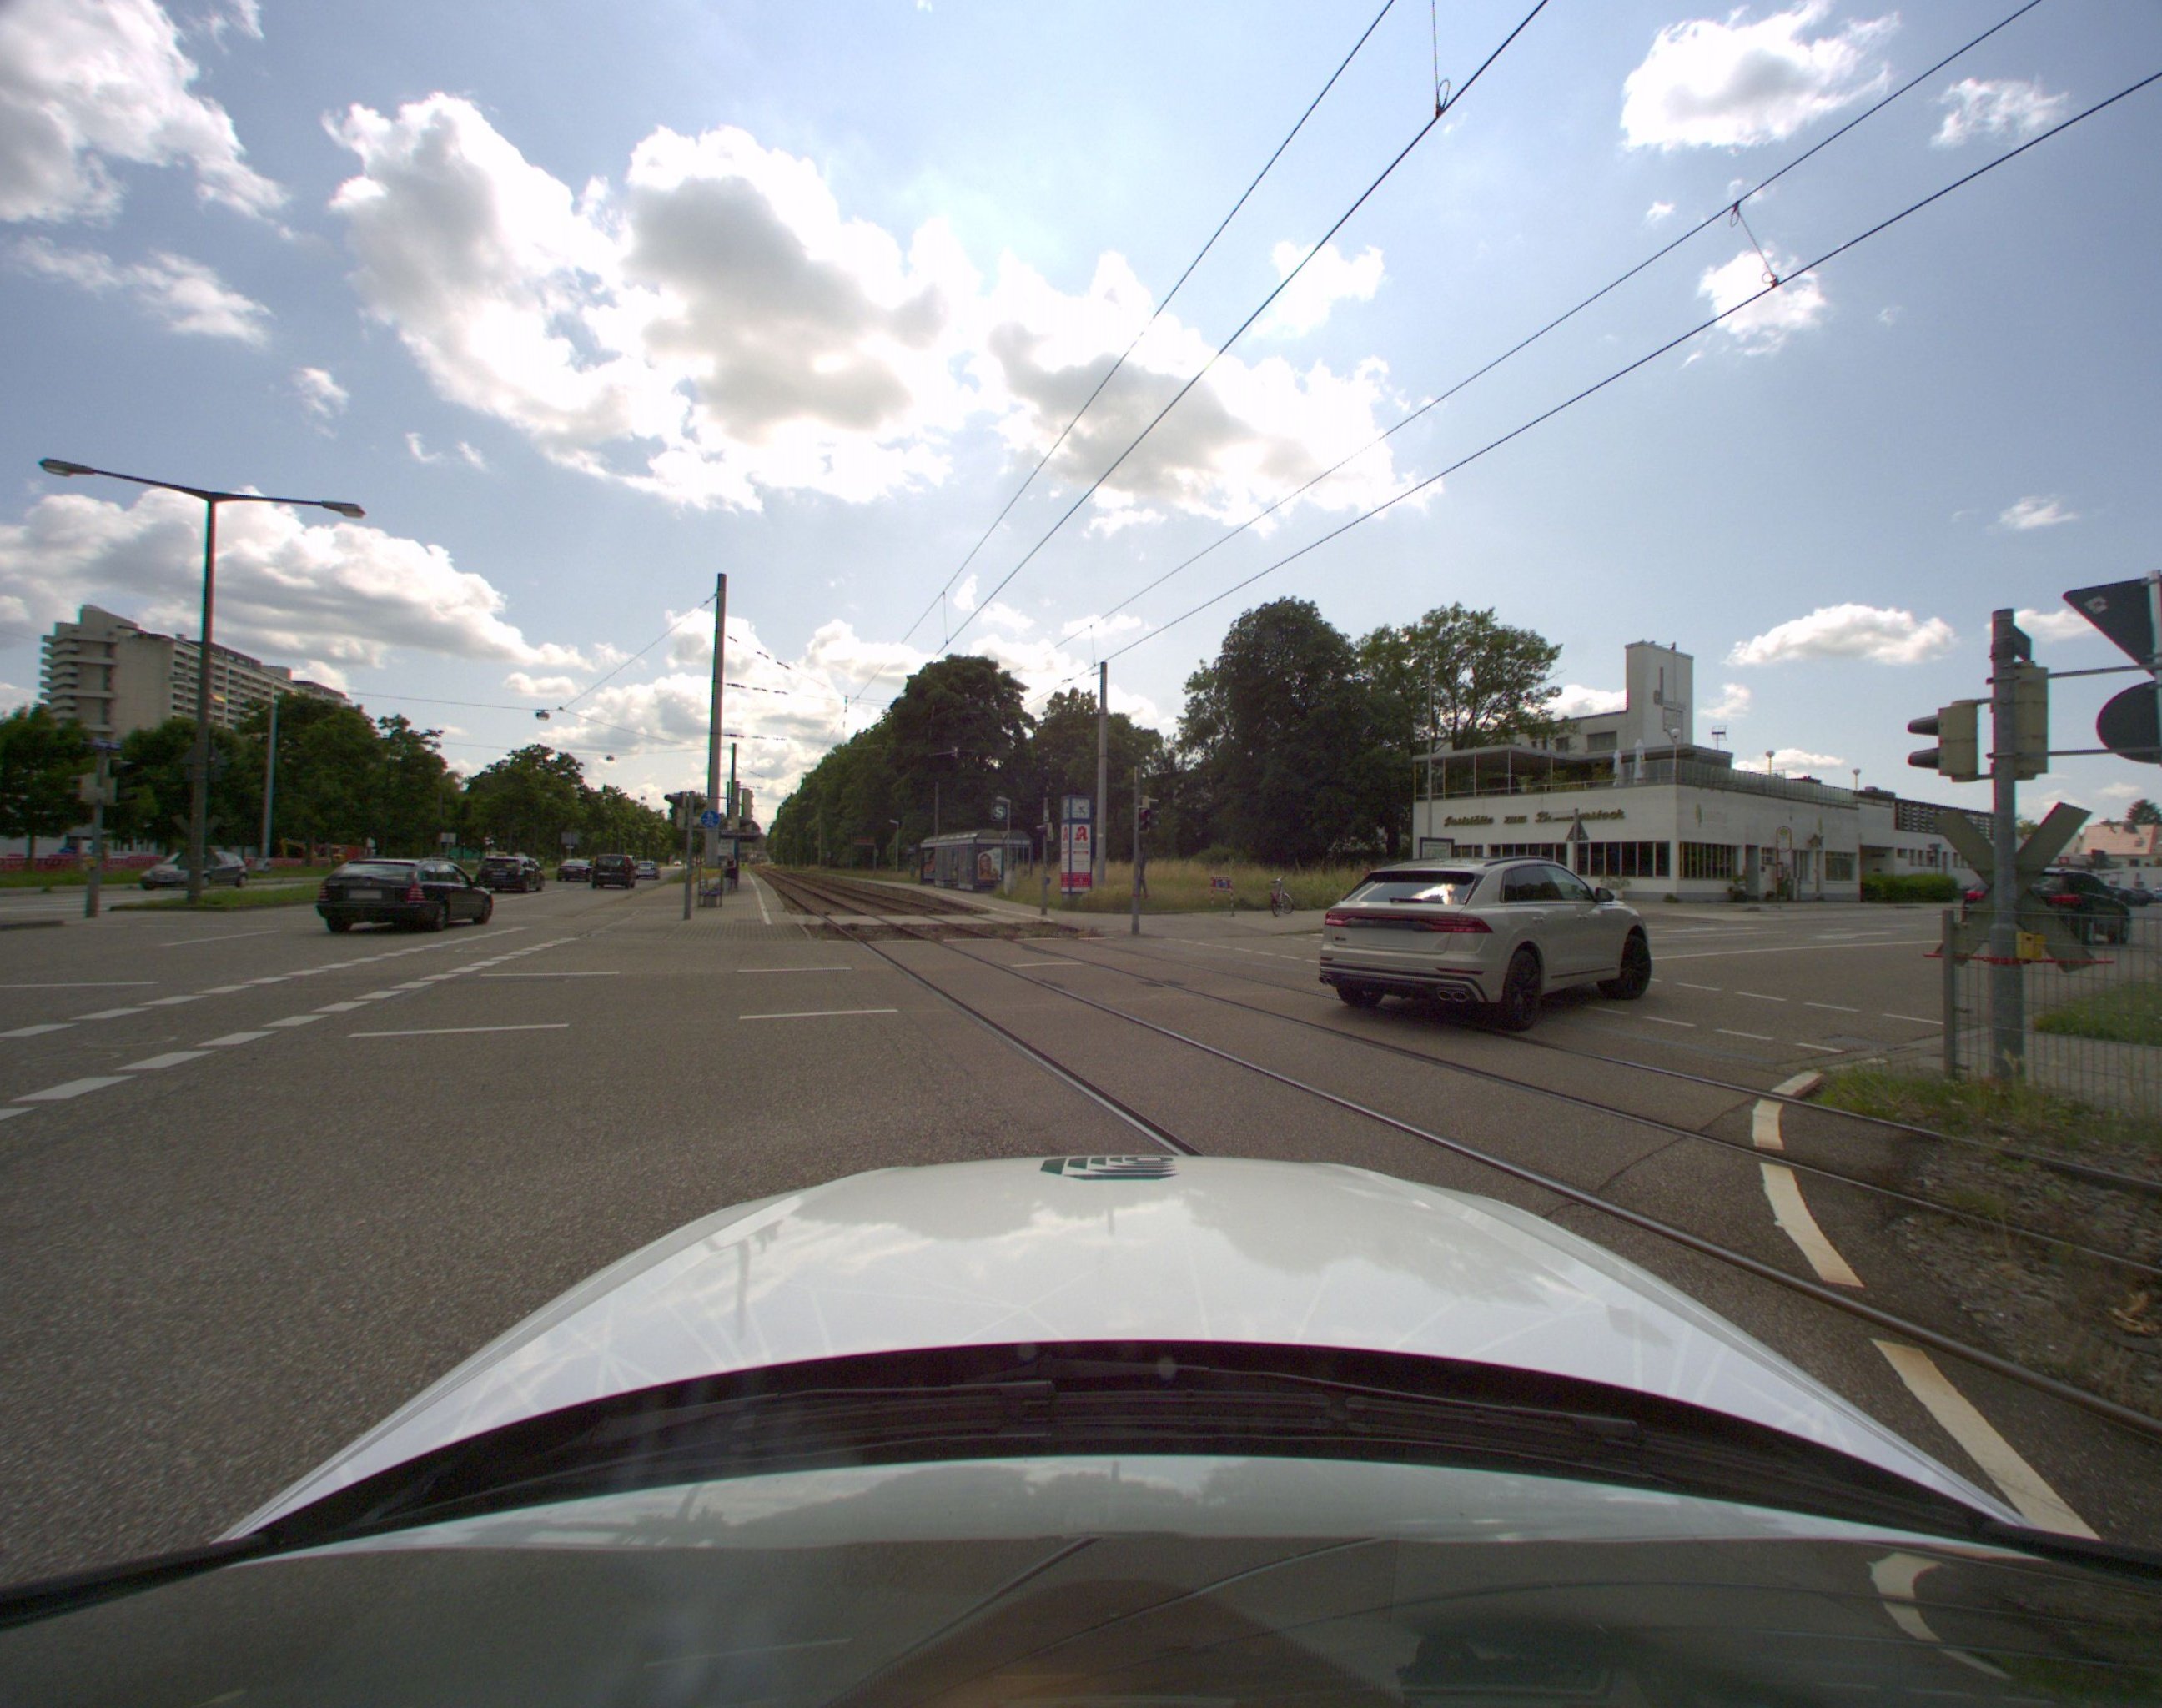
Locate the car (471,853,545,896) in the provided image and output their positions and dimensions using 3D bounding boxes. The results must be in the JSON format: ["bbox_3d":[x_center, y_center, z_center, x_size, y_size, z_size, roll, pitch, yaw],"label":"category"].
[{"bbox_3d":[-24.544,0.873,35.043,1.794,1.668,4.304,3,-2,-25],"label":"car"}]

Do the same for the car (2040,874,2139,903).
[{"bbox_3d":[75.964,2.554,61.396,2.008,2.014,4.596,3,-2,-35],"label":"car"}]

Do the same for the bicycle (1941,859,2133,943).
[{"bbox_3d":[21.357,0.987,18.173,4.219,1.675,1.981,1,-1,-29],"label":"bicycle"}]

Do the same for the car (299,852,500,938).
[{"bbox_3d":[-13.643,0.773,16.657,1.761,1.466,4.401,3,-2,-22],"label":"car"}]

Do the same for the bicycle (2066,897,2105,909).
[{"bbox_3d":[69.337,3.378,56.207,0.572,0.757,1.657,2,0,-35],"label":"bicycle"}]

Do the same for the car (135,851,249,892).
[{"bbox_3d":[-36.901,0.717,33.927,1.794,1.594,3.742,1,-1,-24],"label":"car"}]

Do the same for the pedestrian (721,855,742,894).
[{"bbox_3d":[-13.984,0.811,32.583,0.658,1.514,0.711,2,-1,-31],"label":"pedestrian"}]

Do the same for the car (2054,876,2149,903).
[{"bbox_3d":[81.309,2.804,64.949,2.008,2.014,4.596,3,-2,-35],"label":"car"}]

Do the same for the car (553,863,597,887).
[{"bbox_3d":[-32.951,1.355,53.132,1.873,1.505,3.967,3,-2,-25],"label":"car"}]

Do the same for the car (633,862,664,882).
[{"bbox_3d":[-35.202,1.433,66.409,1.793,1.525,4.267,3,-2,-23],"label":"car"}]

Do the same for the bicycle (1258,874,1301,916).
[{"bbox_3d":[5.872,1.182,24.028,0.692,1.132,1.671,1,1,33],"label":"bicycle"}]

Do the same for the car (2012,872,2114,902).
[{"bbox_3d":[71.871,2.399,59.672,2.008,2.014,4.596,3,-2,-35],"label":"car"}]

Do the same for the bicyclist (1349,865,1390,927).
[{"bbox_3d":[6.995,1.010,19.753,0.842,1.475,0.452,1,-2,-21],"label":"bicyclist"}]

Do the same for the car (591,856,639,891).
[{"bbox_3d":[-25.249,1.066,44.240,1.767,1.778,3.877,3,-2,-24],"label":"car"}]

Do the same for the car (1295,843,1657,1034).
[{"bbox_3d":[4.702,0.819,9.402,4.596,1.684,1.965,2,-3,-39],"label":"car"}]

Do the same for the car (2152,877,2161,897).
[{"bbox_3d":[106.374,3.210,78.336,2.008,2.014,3.956,2,-2,-36],"label":"car"}]
